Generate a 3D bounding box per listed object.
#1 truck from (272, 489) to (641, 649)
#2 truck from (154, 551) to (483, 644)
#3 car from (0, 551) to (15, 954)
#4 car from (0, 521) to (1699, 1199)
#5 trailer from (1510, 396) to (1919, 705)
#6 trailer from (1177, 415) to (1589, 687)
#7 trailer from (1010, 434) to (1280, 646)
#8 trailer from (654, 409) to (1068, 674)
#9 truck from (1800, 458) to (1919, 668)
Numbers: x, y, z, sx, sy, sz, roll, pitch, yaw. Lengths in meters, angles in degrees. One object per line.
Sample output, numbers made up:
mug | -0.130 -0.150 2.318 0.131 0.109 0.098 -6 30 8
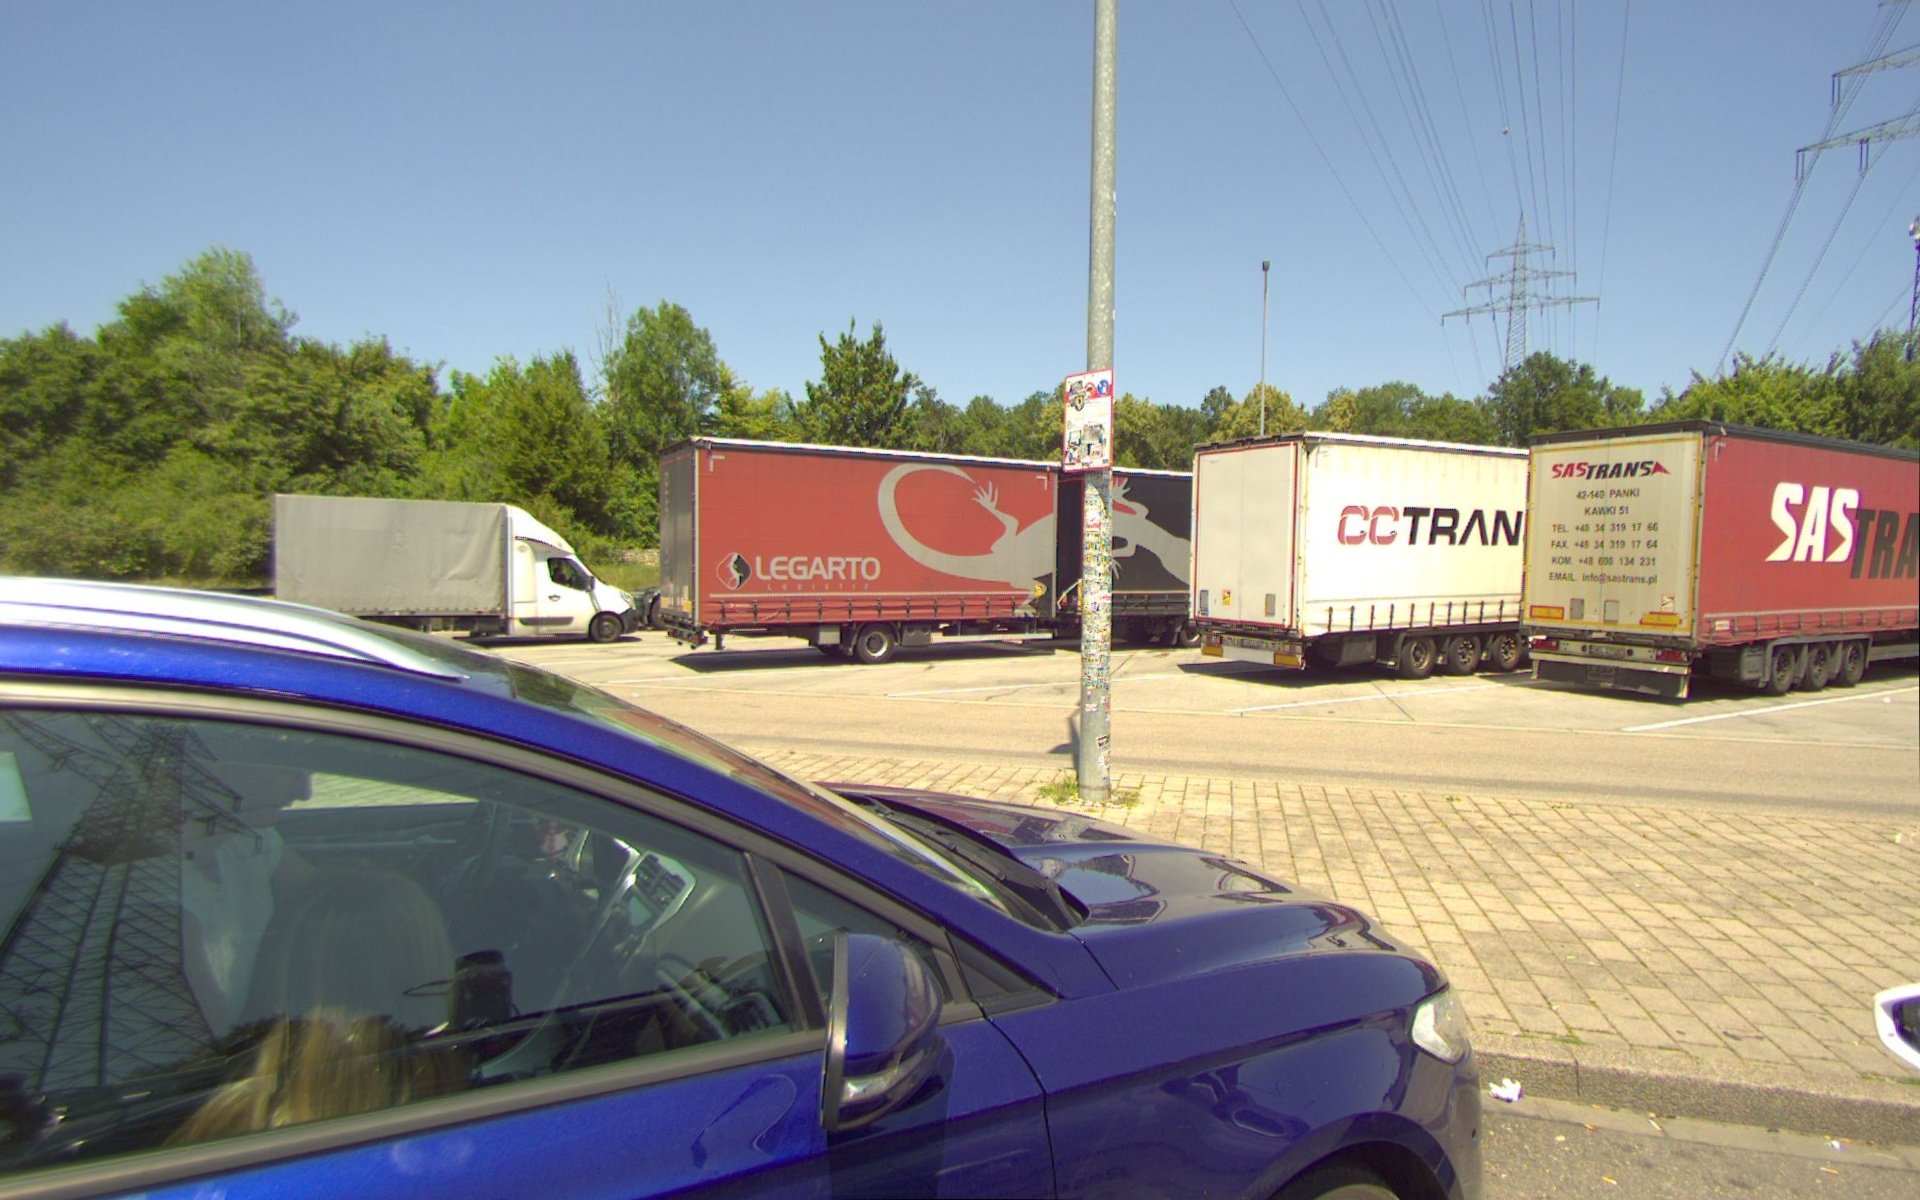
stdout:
truck | -11.137 -0.599 22.767 7.171 3.194 2.160 0 1 -30
truck | -15.360 -0.039 24.561 6.538 2.040 1.984 0 0 -31
car | -4.338 0.509 2.185 3.077 1.378 1.334 1 0 -30
car | -0.977 0.662 1.463 4.362 1.437 1.731 1 0 -30
trailer | 15.263 -0.652 18.426 13.046 4.276 2.786 0 0 -31
trailer | 8.112 -0.761 18.847 8.189 4.208 2.741 0 1 -30
trailer | 4.476 -1.264 24.042 6.076 4.505 2.665 0 1 -30
trailer | -1.822 -0.980 20.267 7.963 4.510 2.648 0 0 -31
truck | 21.446 -0.729 22.061 5.824 4.189 2.792 0 0 -30
